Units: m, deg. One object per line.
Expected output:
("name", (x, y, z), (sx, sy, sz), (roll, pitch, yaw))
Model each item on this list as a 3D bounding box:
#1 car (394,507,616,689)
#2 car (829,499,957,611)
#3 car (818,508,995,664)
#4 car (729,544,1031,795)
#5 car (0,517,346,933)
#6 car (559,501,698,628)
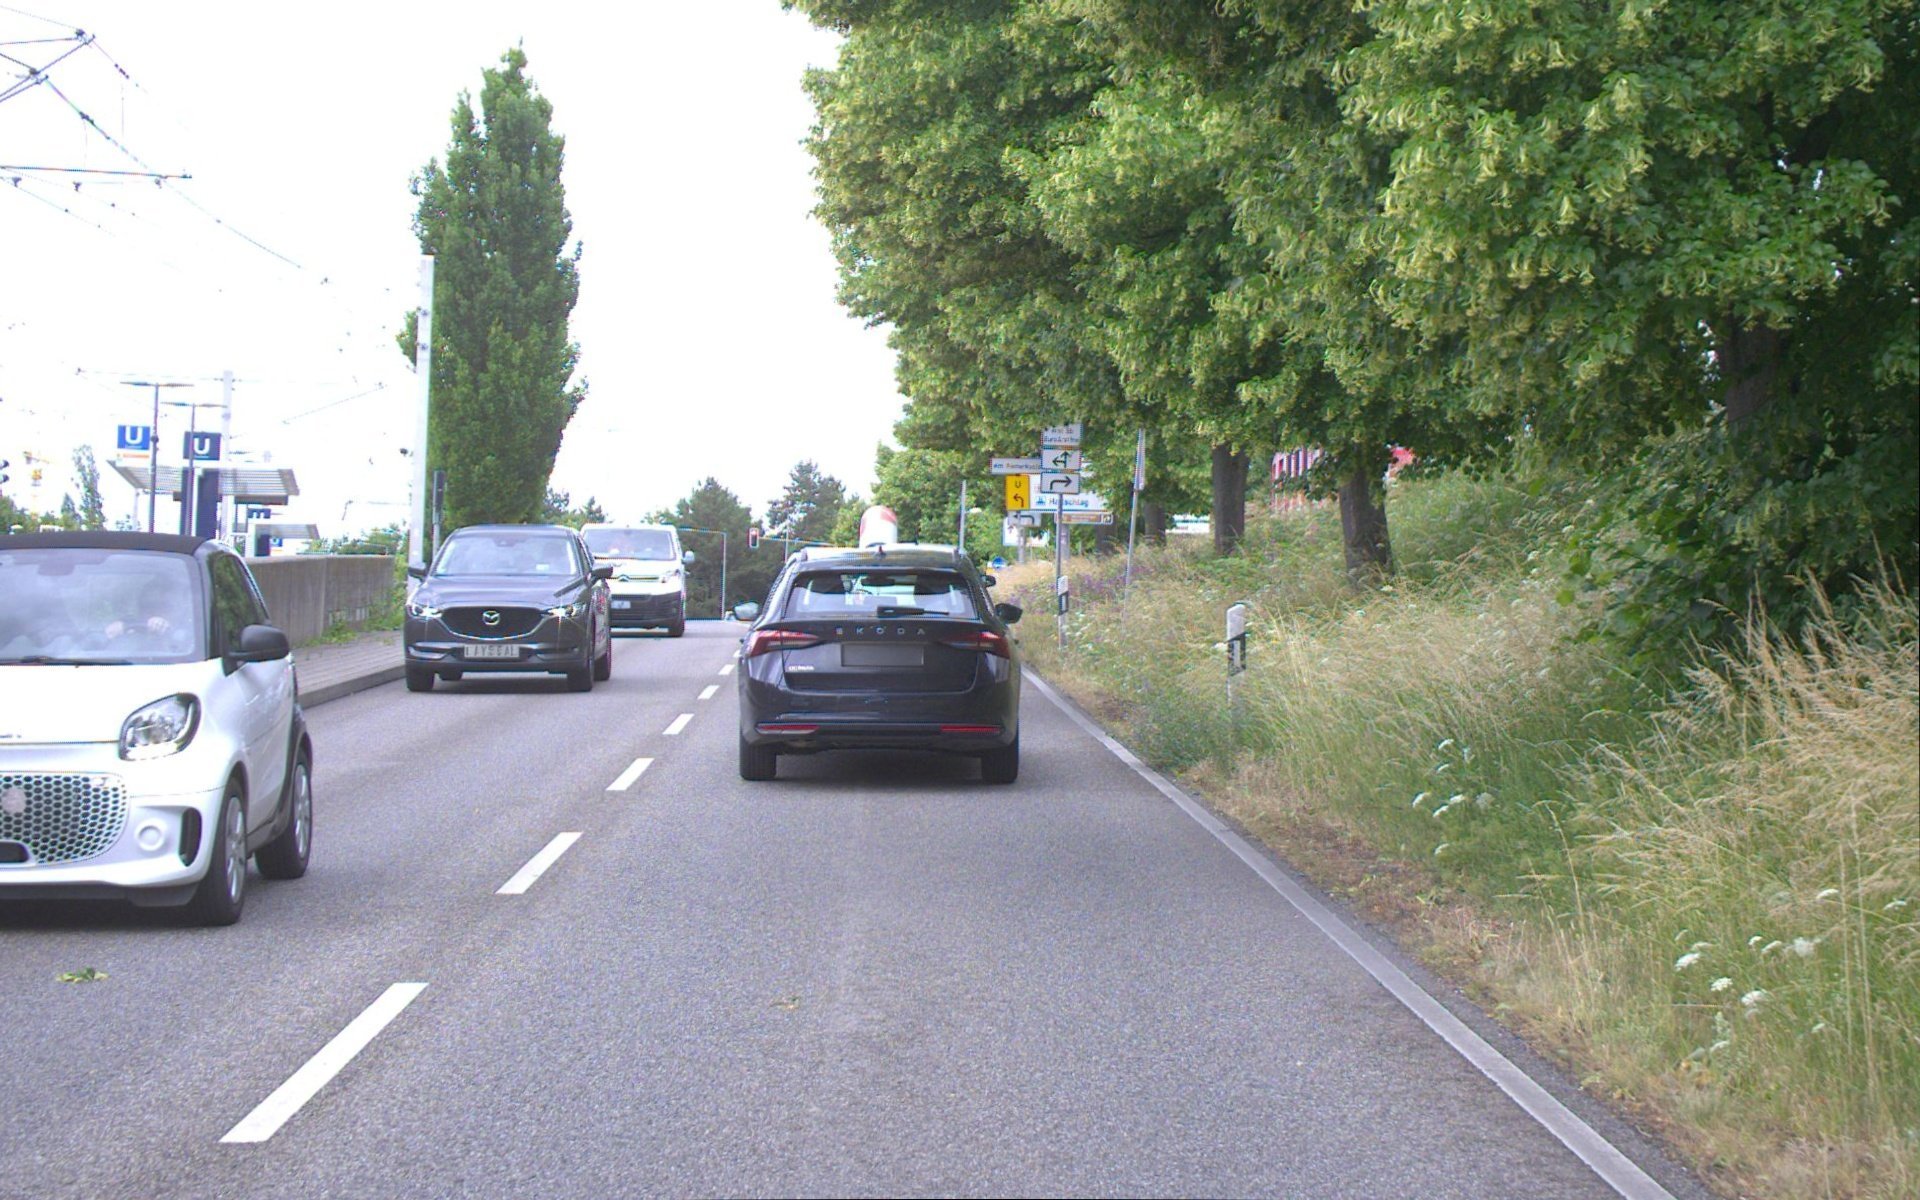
("car", (-4.645, -0.063, 35.596), (1.910, 1.762, 4.307), (0, 1, -3))
("car", (-1.070, -0.723, 55.999), (1.993, 1.734, 4.000), (0, 1, -1))
("car", (-0.641, -0.198, 41.053), (1.993, 1.747, 4.000), (1, 1, -1))
("car", (-0.502, 0.382, 22.460), (1.781, 1.463, 4.000), (1, 1, -1))
("car", (-3.759, 0.427, 14.943), (1.731, 1.566, 4.001), (0, 1, -4))
("car", (-5.413, -0.602, 56.615), (1.993, 2.007, 4.313), (0, 1, -2))
